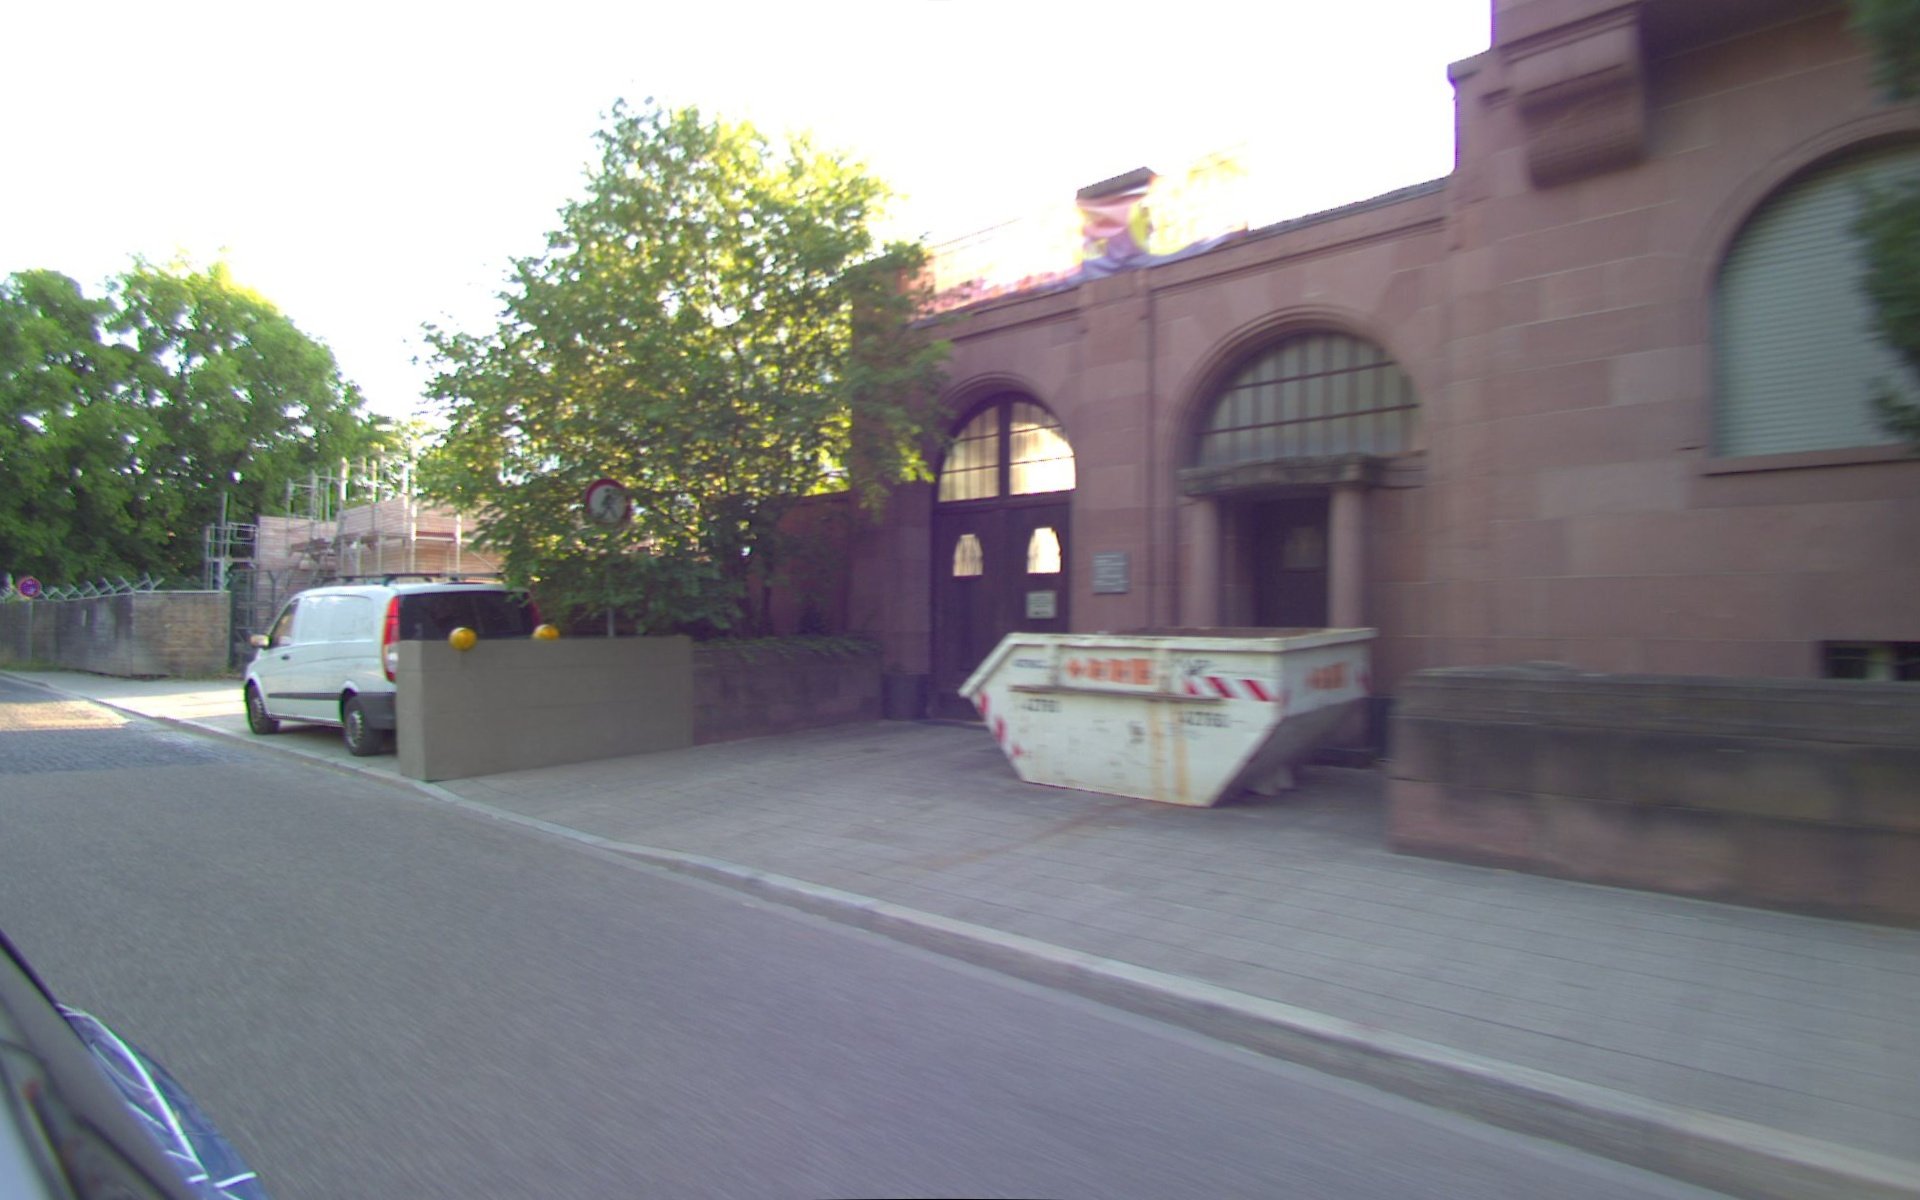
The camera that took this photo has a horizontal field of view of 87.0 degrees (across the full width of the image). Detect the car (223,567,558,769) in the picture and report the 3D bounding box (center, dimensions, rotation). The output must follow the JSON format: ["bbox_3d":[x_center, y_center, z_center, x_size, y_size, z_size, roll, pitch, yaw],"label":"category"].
[{"bbox_3d":[-7.229,0.698,12.565,5.221,2.029,1.864,-1,0,40],"label":"car"}]
